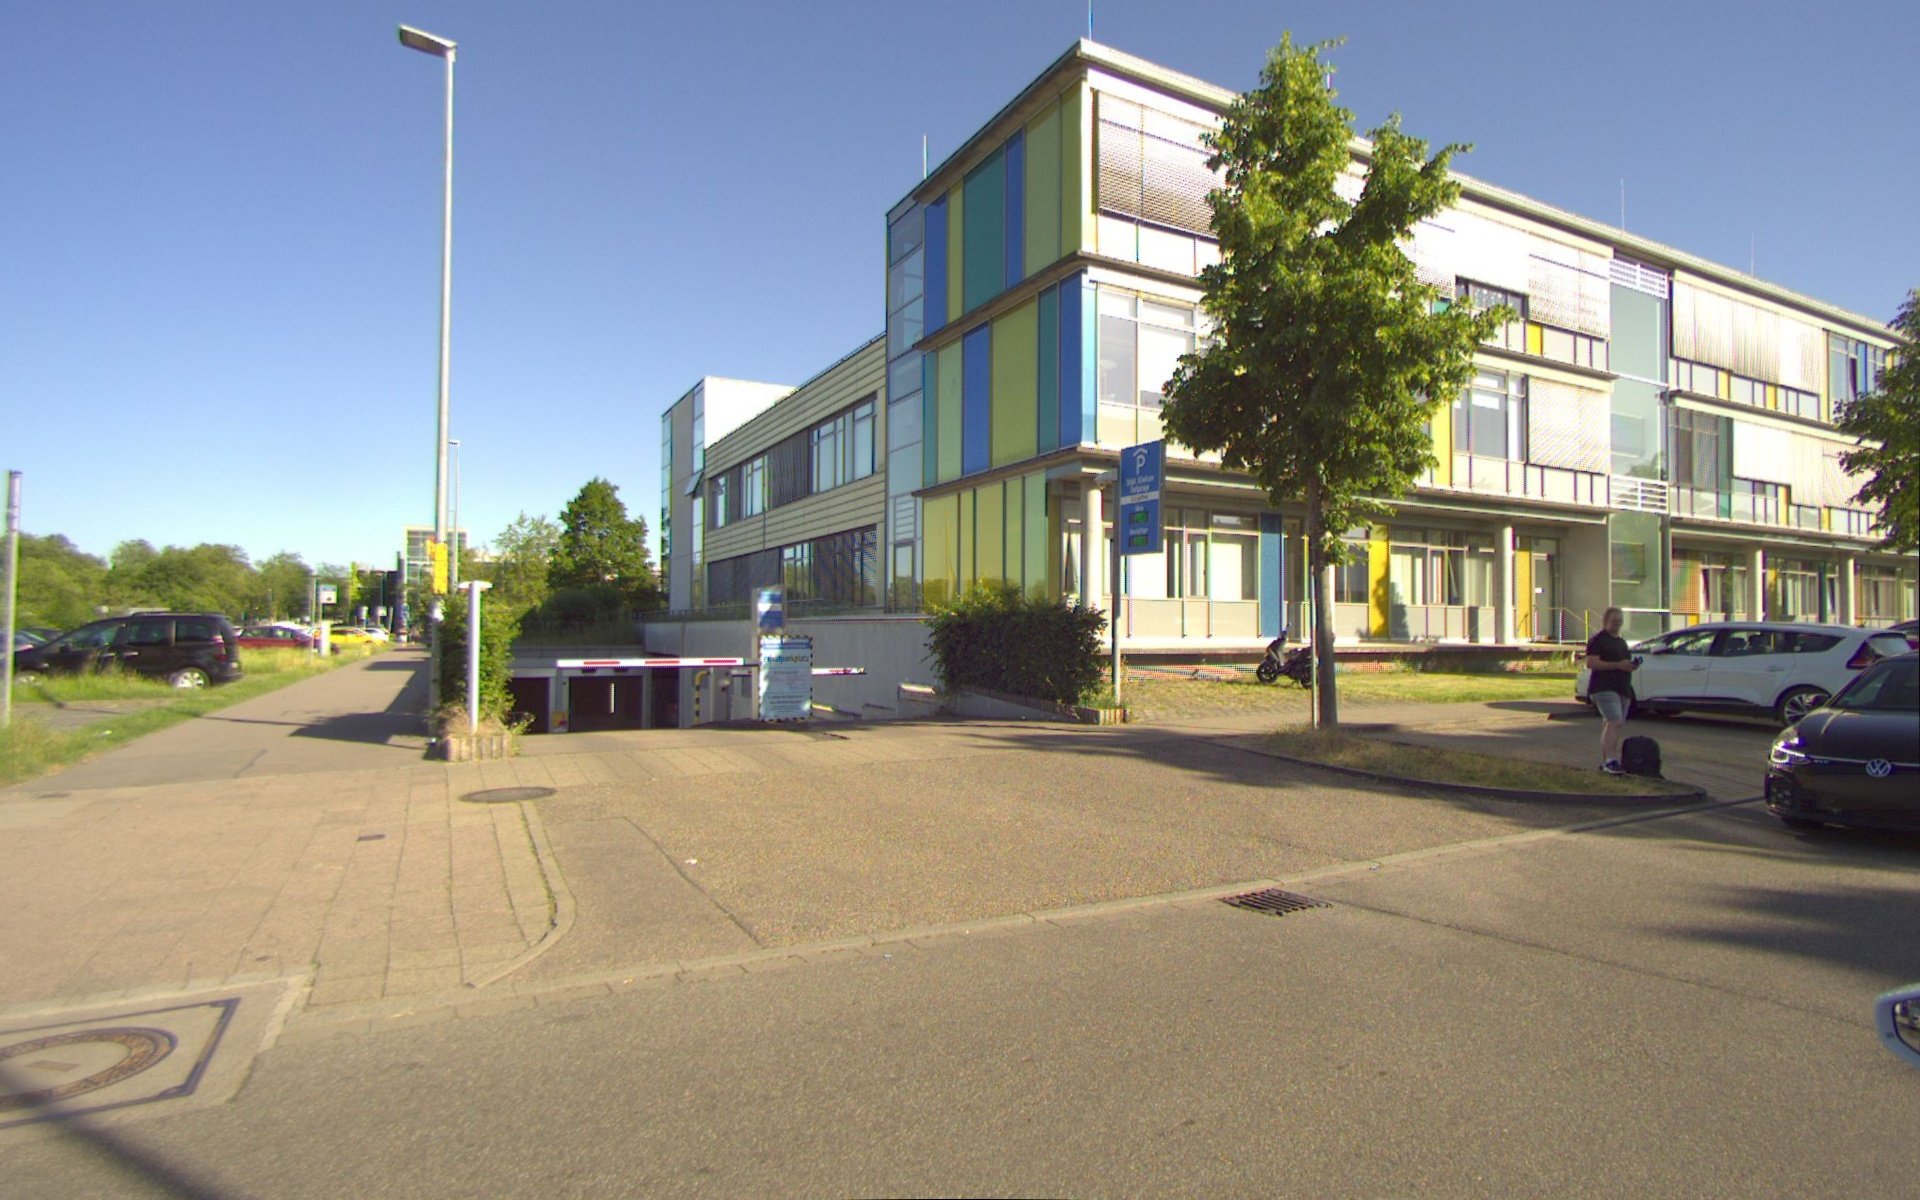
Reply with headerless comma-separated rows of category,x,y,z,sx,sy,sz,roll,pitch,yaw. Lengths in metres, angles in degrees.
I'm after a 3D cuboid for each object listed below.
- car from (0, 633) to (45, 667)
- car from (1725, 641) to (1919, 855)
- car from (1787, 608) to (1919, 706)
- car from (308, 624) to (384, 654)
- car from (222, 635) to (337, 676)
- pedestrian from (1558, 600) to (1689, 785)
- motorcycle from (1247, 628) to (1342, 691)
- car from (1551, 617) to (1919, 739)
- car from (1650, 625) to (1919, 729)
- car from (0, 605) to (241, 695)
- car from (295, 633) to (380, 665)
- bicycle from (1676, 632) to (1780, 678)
car,-38.043,1.943,38.731,3.800,1.280,1.499,1,-5,-30
car,8.223,1.069,8.173,4.037,1.470,1.696,1,-3,-30
car,19.678,1.131,19.945,1.804,1.890,4.724,1,0,-28
car,-42.921,2.688,70.333,4.335,2.040,1.987,1,-2,-26
car,-29.774,2.406,44.124,3.950,1.723,1.986,1,-2,-29
pedestrian,7.085,0.942,10.743,0.815,1.867,0.854,1,0,-27
motorcycle,6.899,1.201,20.813,0.493,1.165,2.033,0,1,-30
car,12.364,1.134,16.294,1.842,1.673,4.599,1,-2,-25
car,14.763,1.241,17.308,1.804,1.521,4.416,1,-1,-28
car,-18.157,1.044,21.653,4.045,1.813,1.503,1,-2,-23
car,-39.978,3.108,64.617,4.331,1.965,1.989,1,-1,-24
bicycle,21.056,1.510,27.560,2.329,1.169,0.871,1,0,-8
